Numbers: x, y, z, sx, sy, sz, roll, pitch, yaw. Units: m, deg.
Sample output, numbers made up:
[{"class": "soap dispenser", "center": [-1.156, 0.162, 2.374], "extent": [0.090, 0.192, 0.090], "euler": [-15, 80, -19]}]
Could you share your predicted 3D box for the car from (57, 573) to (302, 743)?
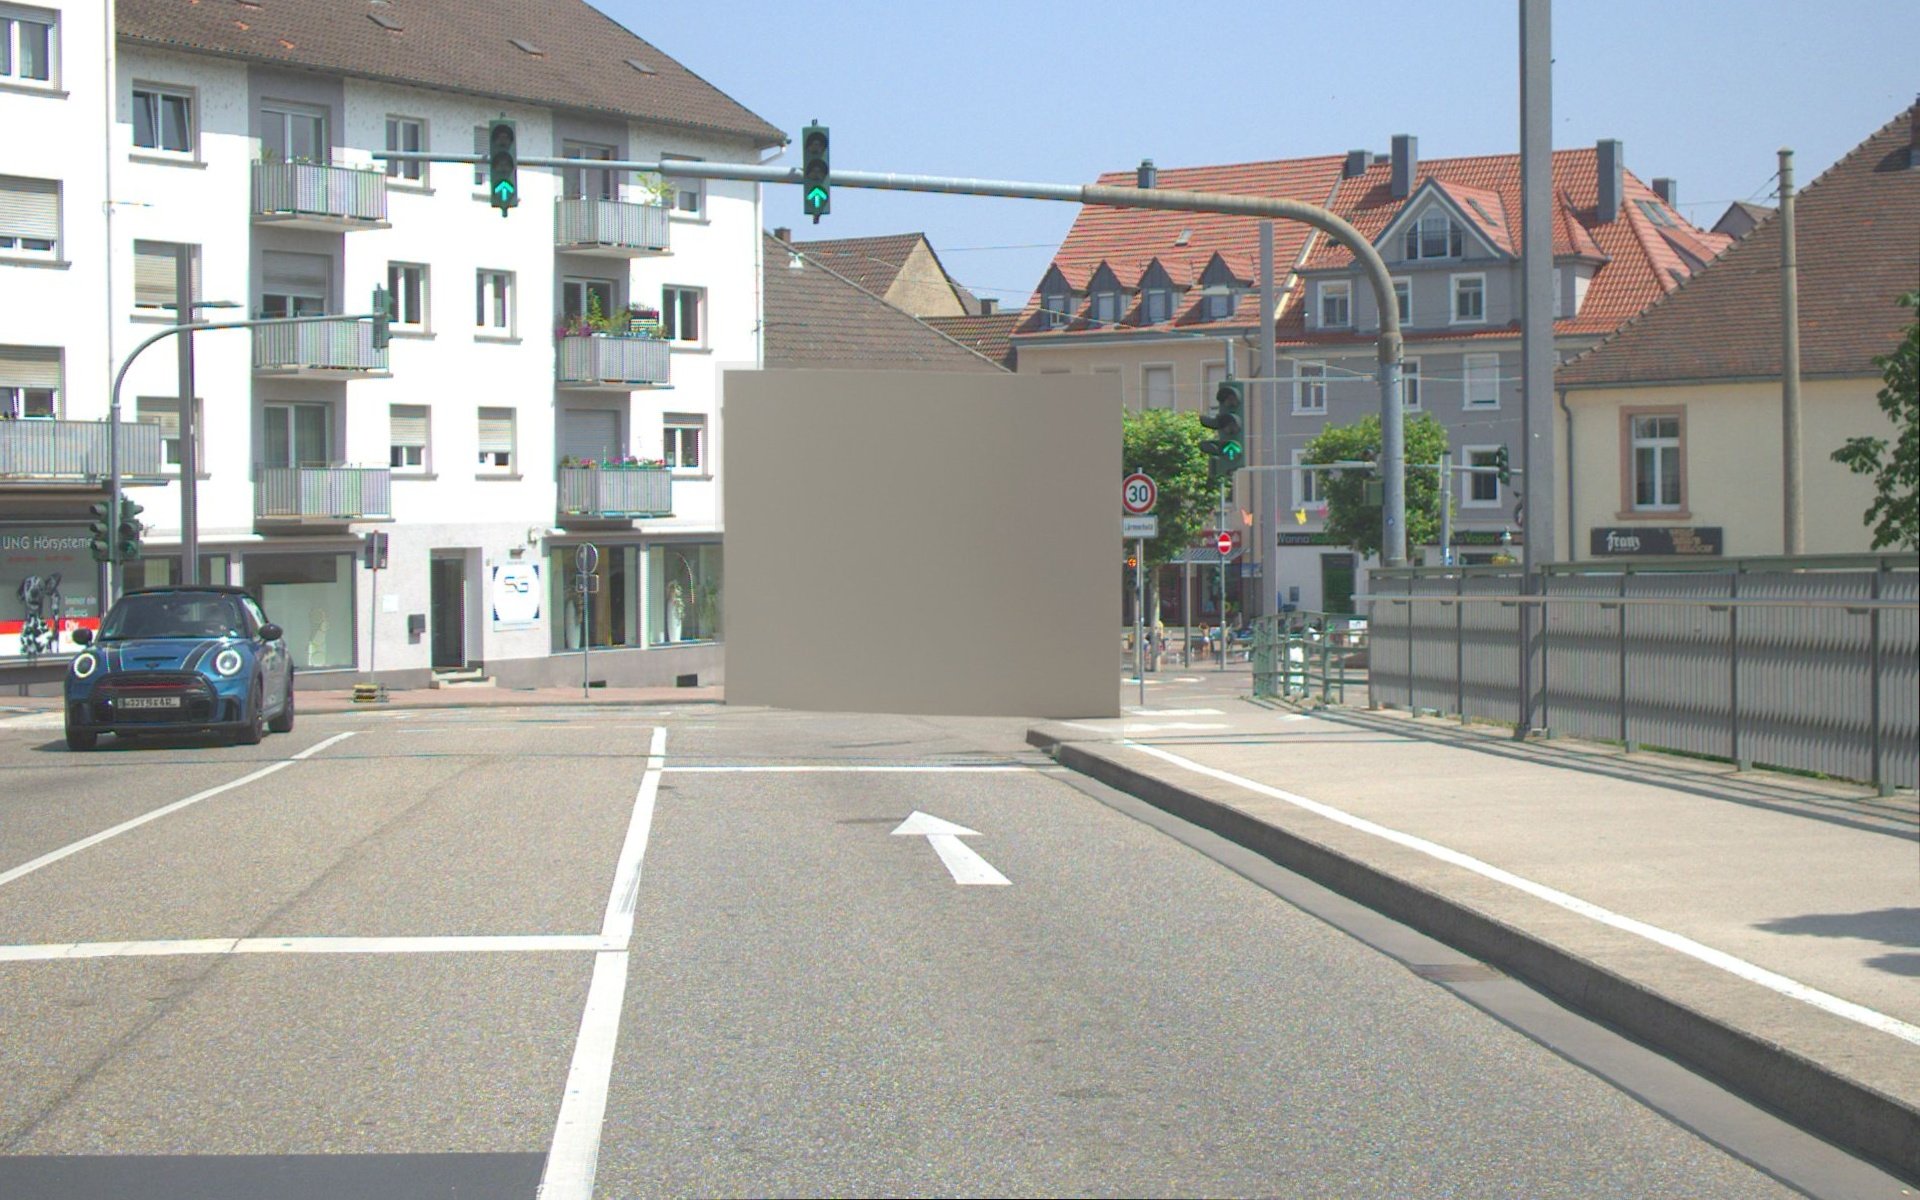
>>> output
[{"class": "car", "center": [-7.199, 0.500, 32.013], "extent": [1.656, 1.435, 3.756], "euler": [-2, 0, -4]}]

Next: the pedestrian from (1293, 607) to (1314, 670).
[{"class": "pedestrian", "center": [11.157, 1.238, 111.596], "extent": [0.610, 2.007, 0.554], "euler": [1, 1, 9]}]

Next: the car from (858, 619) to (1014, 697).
[{"class": "car", "center": [-0.464, 1.195, 71.593], "extent": [1.678, 1.483, 3.950], "euler": [-2, -1, 24]}]

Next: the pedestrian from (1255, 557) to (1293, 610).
[{"class": "pedestrian", "center": [11.745, -0.617, 128.441], "extent": [1.032, 1.974, 1.018], "euler": [2, 1, 31]}]

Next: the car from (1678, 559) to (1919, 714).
[{"class": "car", "center": [15.642, 0.604, 60.068], "extent": [5.624, 2.619, 2.238], "euler": [1, 1, 30]}]
